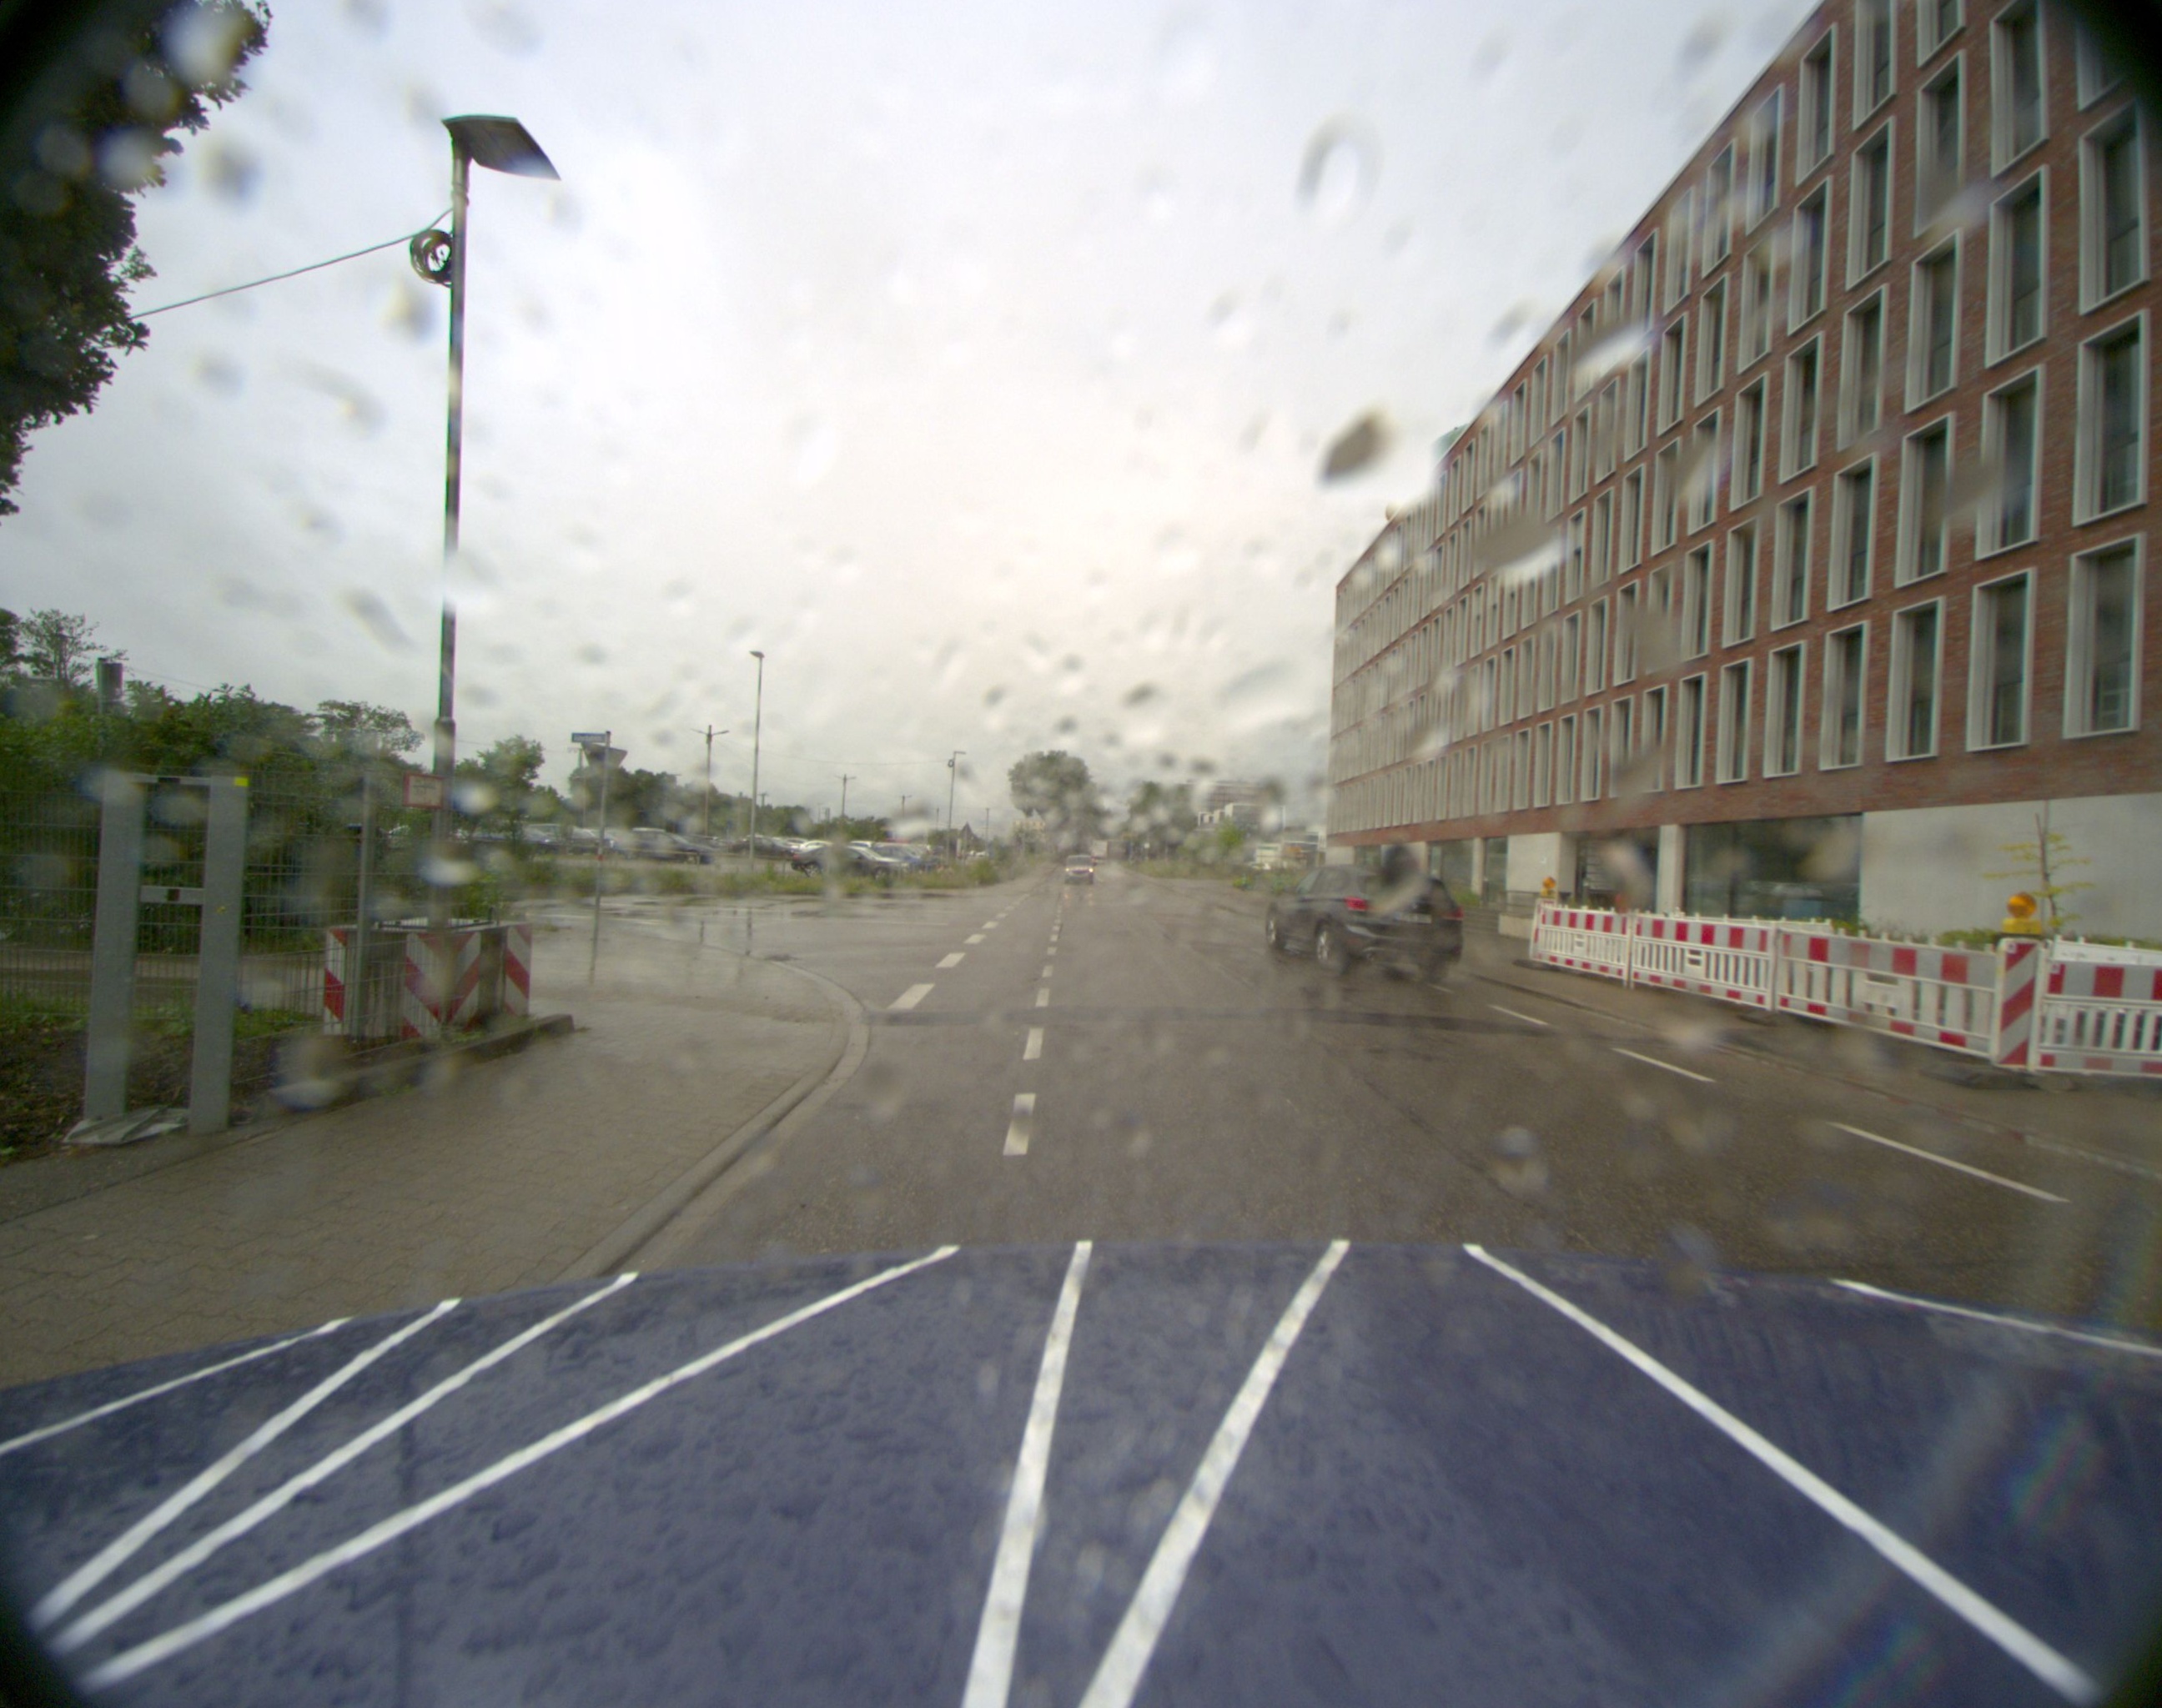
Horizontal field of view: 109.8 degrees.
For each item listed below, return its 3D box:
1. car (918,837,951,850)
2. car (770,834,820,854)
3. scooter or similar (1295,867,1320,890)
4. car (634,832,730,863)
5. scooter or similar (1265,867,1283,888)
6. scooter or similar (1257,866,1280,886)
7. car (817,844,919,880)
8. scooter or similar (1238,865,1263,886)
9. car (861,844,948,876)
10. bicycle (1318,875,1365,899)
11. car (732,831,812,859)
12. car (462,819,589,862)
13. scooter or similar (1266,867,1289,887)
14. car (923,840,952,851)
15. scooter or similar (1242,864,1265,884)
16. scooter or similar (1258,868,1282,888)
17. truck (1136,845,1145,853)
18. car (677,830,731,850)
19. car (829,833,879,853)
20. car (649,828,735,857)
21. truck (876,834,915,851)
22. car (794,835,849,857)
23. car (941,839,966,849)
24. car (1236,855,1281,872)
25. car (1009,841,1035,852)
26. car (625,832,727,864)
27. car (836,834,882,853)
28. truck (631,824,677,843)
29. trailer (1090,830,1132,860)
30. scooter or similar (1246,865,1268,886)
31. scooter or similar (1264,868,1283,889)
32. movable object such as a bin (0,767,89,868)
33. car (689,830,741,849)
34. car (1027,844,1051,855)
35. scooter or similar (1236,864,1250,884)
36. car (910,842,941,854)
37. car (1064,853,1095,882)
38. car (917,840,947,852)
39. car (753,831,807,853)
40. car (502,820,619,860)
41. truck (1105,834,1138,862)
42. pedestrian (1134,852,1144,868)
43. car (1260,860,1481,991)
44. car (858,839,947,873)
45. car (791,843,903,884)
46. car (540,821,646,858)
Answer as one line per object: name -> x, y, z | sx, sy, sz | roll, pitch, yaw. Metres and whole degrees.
car -> -20.063, -1.478, 104.163 | 3.961, 1.481, 1.777 | 4, 2, 2
car -> -27.878, -1.003, 74.193 | 4.071, 1.650, 1.831 | 4, 2, -2
scooter or similar -> 12.689, 1.386, 42.588 | 1.228, 1.201, 0.418 | 3, 1, 7
car -> -21.009, -0.381, 40.163 | 3.997, 1.477, 1.999 | 2, 2, 0
scooter or similar -> 11.446, 1.399, 45.100 | 0.466, 1.223, 1.211 | 4, 1, 42
scooter or similar -> 11.803, 1.363, 47.903 | 1.319, 1.171, 0.467 | 3, 1, 5
car -> -9.882, 0.358, 35.526 | 4.192, 1.501, 1.890 | 2, 2, 0
scooter or similar -> 10.222, 1.292, 45.715 | 1.317, 1.223, 0.468 | 3, 1, 29
car -> -9.574, 0.310, 41.392 | 4.306, 1.508, 1.819 | 2, 2, 0
bicycle -> 12.206, 1.539, 35.620 | 1.953, 1.071, 0.620 | 1, 1, -2
car -> -20.950, -0.630, 51.739 | 4.633, 1.706, 2.017 | 1, 2, -6
car -> -26.545, -0.677, 36.415 | 4.454, 1.663, 2.042 | 4, 2, -3
scooter or similar -> 12.239, 1.425, 47.355 | 1.319, 1.171, 0.467 | 3, 1, 5
car -> -21.865, -1.266, 115.690 | 3.961, 1.419, 1.886 | 4, 2, 2
scooter or similar -> 11.140, 1.279, 49.013 | 1.316, 1.223, 0.509 | 4, 1, 38
scooter or similar -> 11.451, 1.446, 46.057 | 1.321, 1.171, 0.467 | 3, 1, -12
truck -> 20.648, -1.650, 263.851 | 2.090, 2.604, 6.975 | 3, 1, -2
car -> -37.887, -1.409, 76.458 | 4.330, 1.711, 2.020 | 3, 1, -3
car -> -21.366, -1.054, 71.640 | 4.054, 1.476, 1.927 | 5, 2, 2
car -> -26.394, -0.816, 51.631 | 4.714, 1.596, 2.043 | 4, 2, -1
truck -> -28.193, -1.754, 115.432 | 5.302, 2.354, 2.152 | 3, 1, -1
car -> -21.745, -0.670, 63.768 | 3.838, 1.476, 1.927 | 5, 2, 2
car -> -22.187, -1.730, 131.951 | 3.961, 1.528, 1.807 | 4, 2, 2
car -> 20.160, 1.098, 86.222 | 4.534, 1.632, 1.999 | 2, 1, -3
car -> -8.638, -1.101, 111.244 | 3.782, 1.385, 1.904 | 2, 2, -3
car -> -19.986, -0.324, 37.617 | 3.997, 1.401, 1.999 | 2, 2, 0
car -> -21.799, -1.047, 74.742 | 3.912, 1.575, 1.786 | 5, 2, 2
truck -> -48.575, -2.294, 86.521 | 2.086, 2.002, 5.279 | 3, 0, 1
trailer -> 5.266, -1.453, 129.190 | 3.297, 4.627, 13.752 | 3, 1, 18
scooter or similar -> 10.898, 1.335, 47.043 | 0.468, 1.223, 1.317 | 3, 1, -29
scooter or similar -> 11.241, 1.429, 44.324 | 0.466, 1.201, 1.211 | 4, 1, 42
movable object such as a bin -> -33.776, -1.155, 23.303 | 3.997, 2.975, 2.000 | 2, 1, -1
car -> -38.134, -1.537, 79.225 | 4.330, 1.711, 2.020 | 3, 1, -3
car -> -6.793, -0.717, 122.882 | 3.906, 1.586, 1.896 | 2, 2, -3
scooter or similar -> 10.285, 1.243, 48.284 | 0.467, 1.223, 1.320 | 3, 1, -3
car -> -22.456, -0.933, 109.870 | 3.961, 1.419, 1.886 | 4, 2, 2
car -> -0.135, 0.821, 48.682 | 1.838, 1.714, 4.172 | 2, 0, -1
car -> -22.070, -1.182, 112.634 | 3.961, 1.419, 1.886 | 4, 2, 2
car -> -27.056, -1.066, 68.385 | 4.070, 1.596, 1.926 | 5, 2, 0
car -> -26.659, -0.743, 39.025 | 4.454, 1.663, 2.042 | 4, 2, -3
truck -> 7.272, -1.011, 135.435 | 3.295, 4.627, 6.045 | 3, 1, 28
pedestrian -> 6.600, 0.649, 86.197 | 0.911, 1.708, 1.026 | 2, 1, 0
car -> 4.300, 0.961, 12.067 | 1.764, 1.559, 4.149 | 4, 0, -1
car -> -10.591, 0.087, 45.343 | 4.691, 1.725, 2.128 | 3, 2, 4
car -> -9.957, 0.390, 32.622 | 4.231, 1.392, 1.888 | 5, 2, -9
car -> -26.906, -0.802, 42.010 | 4.453, 1.663, 2.043 | 4, 2, -1
